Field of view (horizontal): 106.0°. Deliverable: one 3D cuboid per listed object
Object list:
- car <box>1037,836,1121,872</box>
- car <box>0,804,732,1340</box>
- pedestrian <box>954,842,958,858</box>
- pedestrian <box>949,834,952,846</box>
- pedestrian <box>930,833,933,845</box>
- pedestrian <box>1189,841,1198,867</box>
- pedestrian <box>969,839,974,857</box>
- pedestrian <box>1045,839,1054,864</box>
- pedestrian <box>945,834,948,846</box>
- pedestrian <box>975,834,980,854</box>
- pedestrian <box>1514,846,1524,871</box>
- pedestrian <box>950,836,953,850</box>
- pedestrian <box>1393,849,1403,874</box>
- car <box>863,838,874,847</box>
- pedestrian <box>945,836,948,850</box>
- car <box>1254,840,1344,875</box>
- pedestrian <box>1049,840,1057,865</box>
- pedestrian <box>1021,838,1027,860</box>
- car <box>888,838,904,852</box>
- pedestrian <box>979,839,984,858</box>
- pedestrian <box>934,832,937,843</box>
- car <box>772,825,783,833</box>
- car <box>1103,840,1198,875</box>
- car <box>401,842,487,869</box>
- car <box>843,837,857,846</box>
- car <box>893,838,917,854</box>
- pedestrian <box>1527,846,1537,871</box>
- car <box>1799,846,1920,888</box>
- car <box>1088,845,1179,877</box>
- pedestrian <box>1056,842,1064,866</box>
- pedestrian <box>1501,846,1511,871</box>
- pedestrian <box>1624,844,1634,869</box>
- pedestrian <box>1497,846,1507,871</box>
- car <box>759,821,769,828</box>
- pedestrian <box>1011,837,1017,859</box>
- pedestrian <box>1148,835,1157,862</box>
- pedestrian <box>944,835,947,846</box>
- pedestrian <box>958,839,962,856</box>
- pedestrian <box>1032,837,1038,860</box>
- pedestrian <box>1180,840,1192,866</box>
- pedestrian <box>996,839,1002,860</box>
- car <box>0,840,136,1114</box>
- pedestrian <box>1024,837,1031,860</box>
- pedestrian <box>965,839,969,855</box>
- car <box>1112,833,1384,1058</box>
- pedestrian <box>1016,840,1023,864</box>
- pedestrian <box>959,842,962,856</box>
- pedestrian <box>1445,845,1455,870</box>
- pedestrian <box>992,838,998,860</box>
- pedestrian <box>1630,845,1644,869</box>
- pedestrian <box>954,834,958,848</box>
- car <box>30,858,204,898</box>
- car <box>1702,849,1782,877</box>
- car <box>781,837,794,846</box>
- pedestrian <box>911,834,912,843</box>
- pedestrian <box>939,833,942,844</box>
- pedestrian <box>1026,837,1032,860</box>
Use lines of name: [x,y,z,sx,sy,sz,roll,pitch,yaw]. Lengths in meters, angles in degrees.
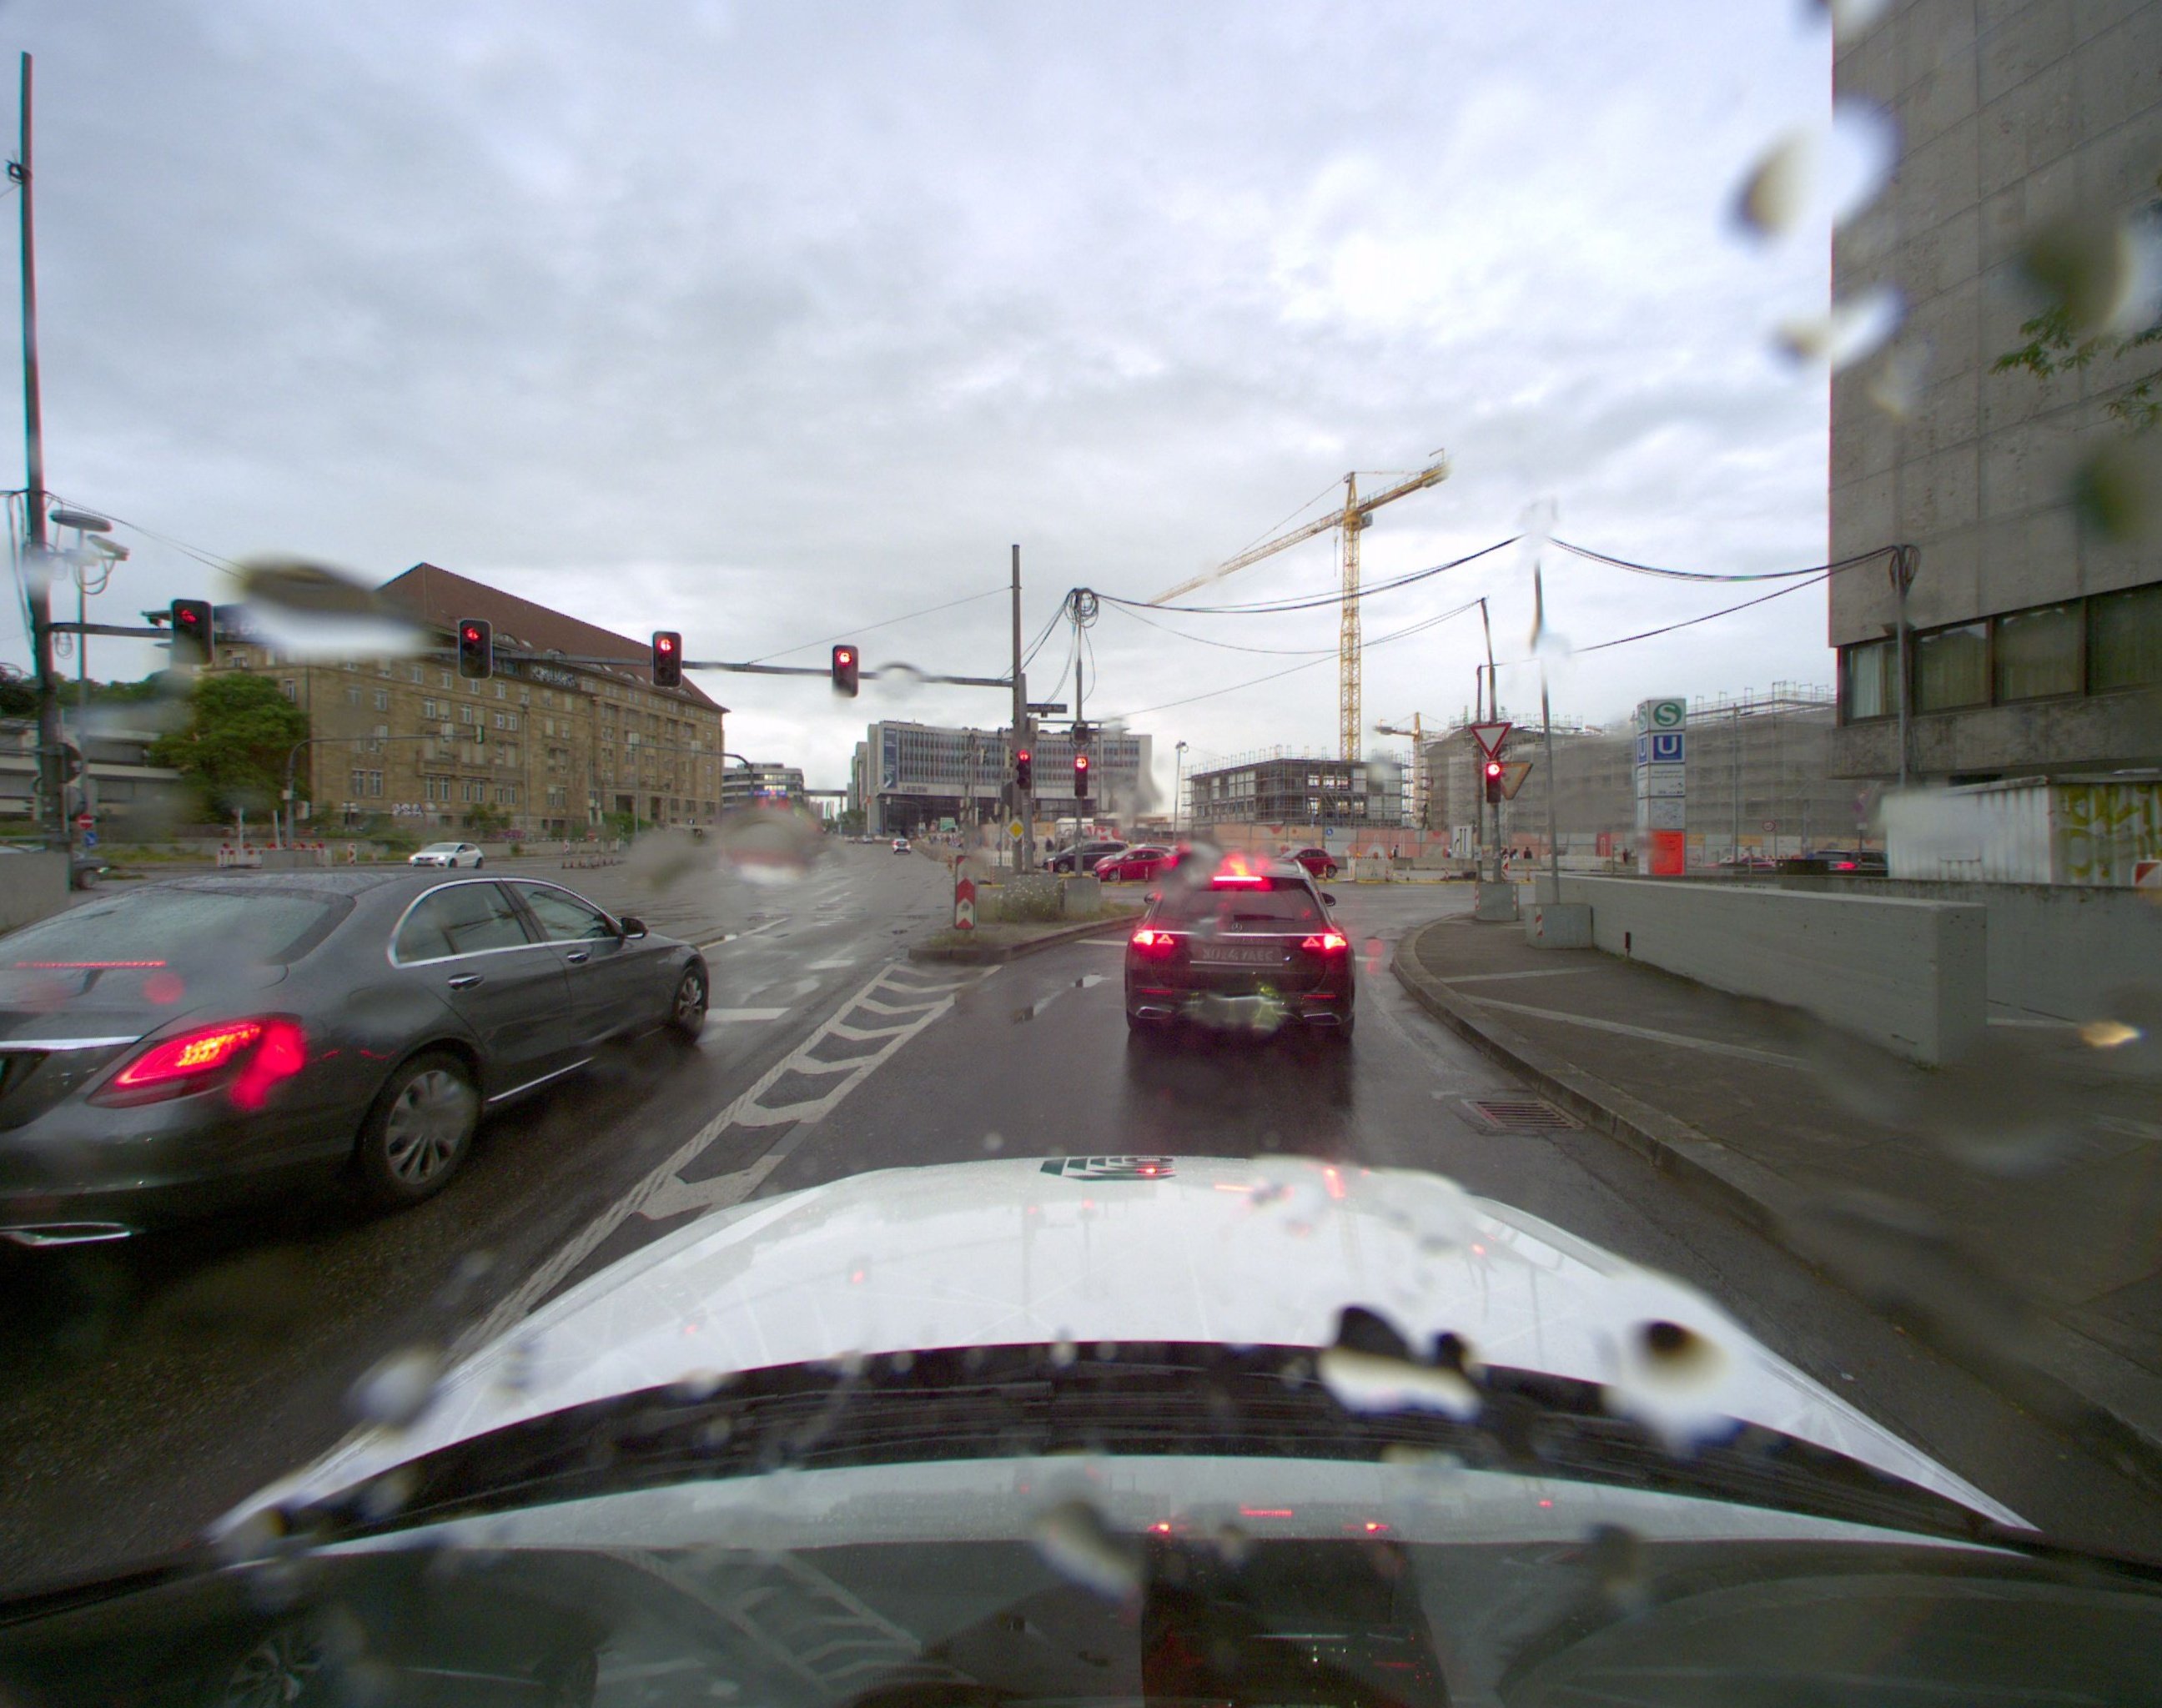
car: [-0.103,0.018,42.255,3.993,1.734,1.990,1,-1,-15]
car: [-3.729,0.676,4.650,1.780,1.600,4.479,1,-1,-4]
pedestrian: [-14.963,-0.518,97.322,0.362,1.898,0.573,1,-1,-16]
pedestrian: [-20.196,-2.156,126.143,0.362,1.898,0.573,1,-1,-16]
pedestrian: [-25.335,-2.557,137.841,0.362,1.898,0.573,1,-1,-16]
pedestrian: [8.215,-0.024,59.304,0.574,1.898,0.361,1,-1,-10]
pedestrian: [-11.787,-0.661,87.541,0.362,1.898,0.573,1,-1,-16]
pedestrian: [-2.400,-0.185,61.927,0.364,1.898,0.569,2,-2,-42]
pedestrian: [-20.763,-2.163,125.960,0.362,1.898,0.573,1,-1,-16]
pedestrian: [-10.414,-1.001,81.919,0.362,1.898,0.573,1,-1,-16]
pedestrian: [33.163,0.329,61.599,0.574,1.898,0.361,1,-1,-10]
pedestrian: [-17.789,-1.553,111.727,0.361,1.898,0.574,1,-1,-12]
pedestrian: [23.560,0.552,60.596,0.574,1.898,0.361,1,-1,-10]
car: [-41.011,-2.280,157.337,1.733,1.639,3.412,1,2,-20]
pedestrian: [-18.758,-1.541,113.448,0.362,1.898,0.573,1,-1,-16]
car: [11.061,0.201,41.339,3.995,1.708,1.989,1,-1,-16]
pedestrian: [-2.198,-0.104,63.858,0.570,1.898,0.364,0,-1,15]
pedestrian: [-4.895,-0.441,69.802,0.362,1.898,0.572,1,-1,-20]
car: [-24.243,-1.192,106.793,1.996,1.766,4.398,1,-1,-13]
pedestrian: [-10.048,-0.573,82.048,0.362,1.898,0.573,1,-1,-16]
pedestrian: [-24.688,-2.741,138.084,0.362,1.898,0.573,1,-1,-16]
car: [-81.254,-6.757,217.922,2.006,2.014,3.962,1,-1,-30]
car: [3.270,0.167,38.503,4.050,1.552,1.988,1,-1,-18]
car: [-32.420,0.109,41.566,1.768,1.260,3.985,1,-1,-11]
car: [-43.770,-2.336,154.340,2.002,1.640,3.970,1,-1,-23]
car: [-18.499,-0.826,85.486,1.775,1.473,3.557,1,-1,-1]
pedestrian: [33.929,0.335,61.295,0.574,1.898,0.361,1,-1,-10]
car: [34.921,0.611,36.520,5.105,1.798,1.986,1,-1,-21]
car: [2.251,0.311,35.156,3.542,1.304,1.656,1,-1,-17]
pedestrian: [-1.648,0.011,62.963,0.364,1.898,0.570,2,-1,-35]
pedestrian: [32.610,0.336,62.550,0.574,1.898,0.361,1,-1,-10]
pedestrian: [42.909,0.194,63.728,0.574,1.898,0.361,1,-1,-10]
pedestrian: [32.798,0.350,63.397,0.574,1.898,0.361,1,-1,-10]
car: [-92.490,-8.650,237.468,2.007,1.816,3.959,1,-1,-32]
pedestrian: [-5.721,-0.488,69.532,0.362,1.898,0.572,1,-1,-20]
pedestrian: [4.989,-0.366,56.671,0.573,1.898,0.362,1,-1,-1]
pedestrian: [-22.580,-2.285,135.658,0.362,1.898,0.573,1,-1,-16]
pedestrian: [-14.240,-0.756,96.085,0.362,1.898,0.573,1,-1,-16]
pedestrian: [-3.836,-0.482,67.729,0.362,1.898,0.572,1,-1,-20]
pedestrian: [7.711,-0.048,59.815,0.656,1.901,0.629,1,-1,-12]
pedestrian: [-7.239,-0.391,72.026,0.362,1.898,0.572,1,-1,-20]
car: [-6.775,0.661,2.591,1.883,1.515,4.994,1,0,-4]
pedestrian: [-4.441,-0.489,67.748,0.362,1.898,0.572,1,-1,-20]
pedestrian: [-13.475,-0.836,96.050,0.362,1.898,0.573,1,-1,-16]
car: [1.420,0.662,7.753,1.881,1.544,4.001,1,-1,7]
pedestrian: [-4.795,-0.139,63.348,0.363,1.898,0.572,1,-1,-24]
pedestrian: [-16.294,-0.651,110.073,0.362,1.898,0.573,1,-1,-16]
pedestrian: [28.369,0.289,62.631,0.574,1.898,0.361,1,-1,-10]
pedestrian: [-7.616,-0.413,71.916,0.362,1.898,0.572,1,-1,-20]
pedestrian: [44.505,0.270,65.215,0.798,1.898,0.563,1,-1,-13]
pedestrian: [-17.601,-1.806,114.667,0.362,1.898,0.573,1,-1,-16]
car: [-32.511,0.789,27.656,1.625,1.260,4.061,1,-1,-13]
car: [40.547,0.574,50.001,3.734,1.651,1.866,1,-1,-11]
car: [-57.804,-2.415,160.353,1.673,1.596,3.577,1,-1,-33]
pedestrian: [-37.280,-3.390,179.102,0.361,1.898,0.574,1,-1,-13]
pedestrian: [-23.885,-2.635,138.349,0.362,1.898,0.573,1,-1,-16]
pedestrian: [-4.437,-0.458,69.990,0.362,1.898,0.572,1,-1,-20]
